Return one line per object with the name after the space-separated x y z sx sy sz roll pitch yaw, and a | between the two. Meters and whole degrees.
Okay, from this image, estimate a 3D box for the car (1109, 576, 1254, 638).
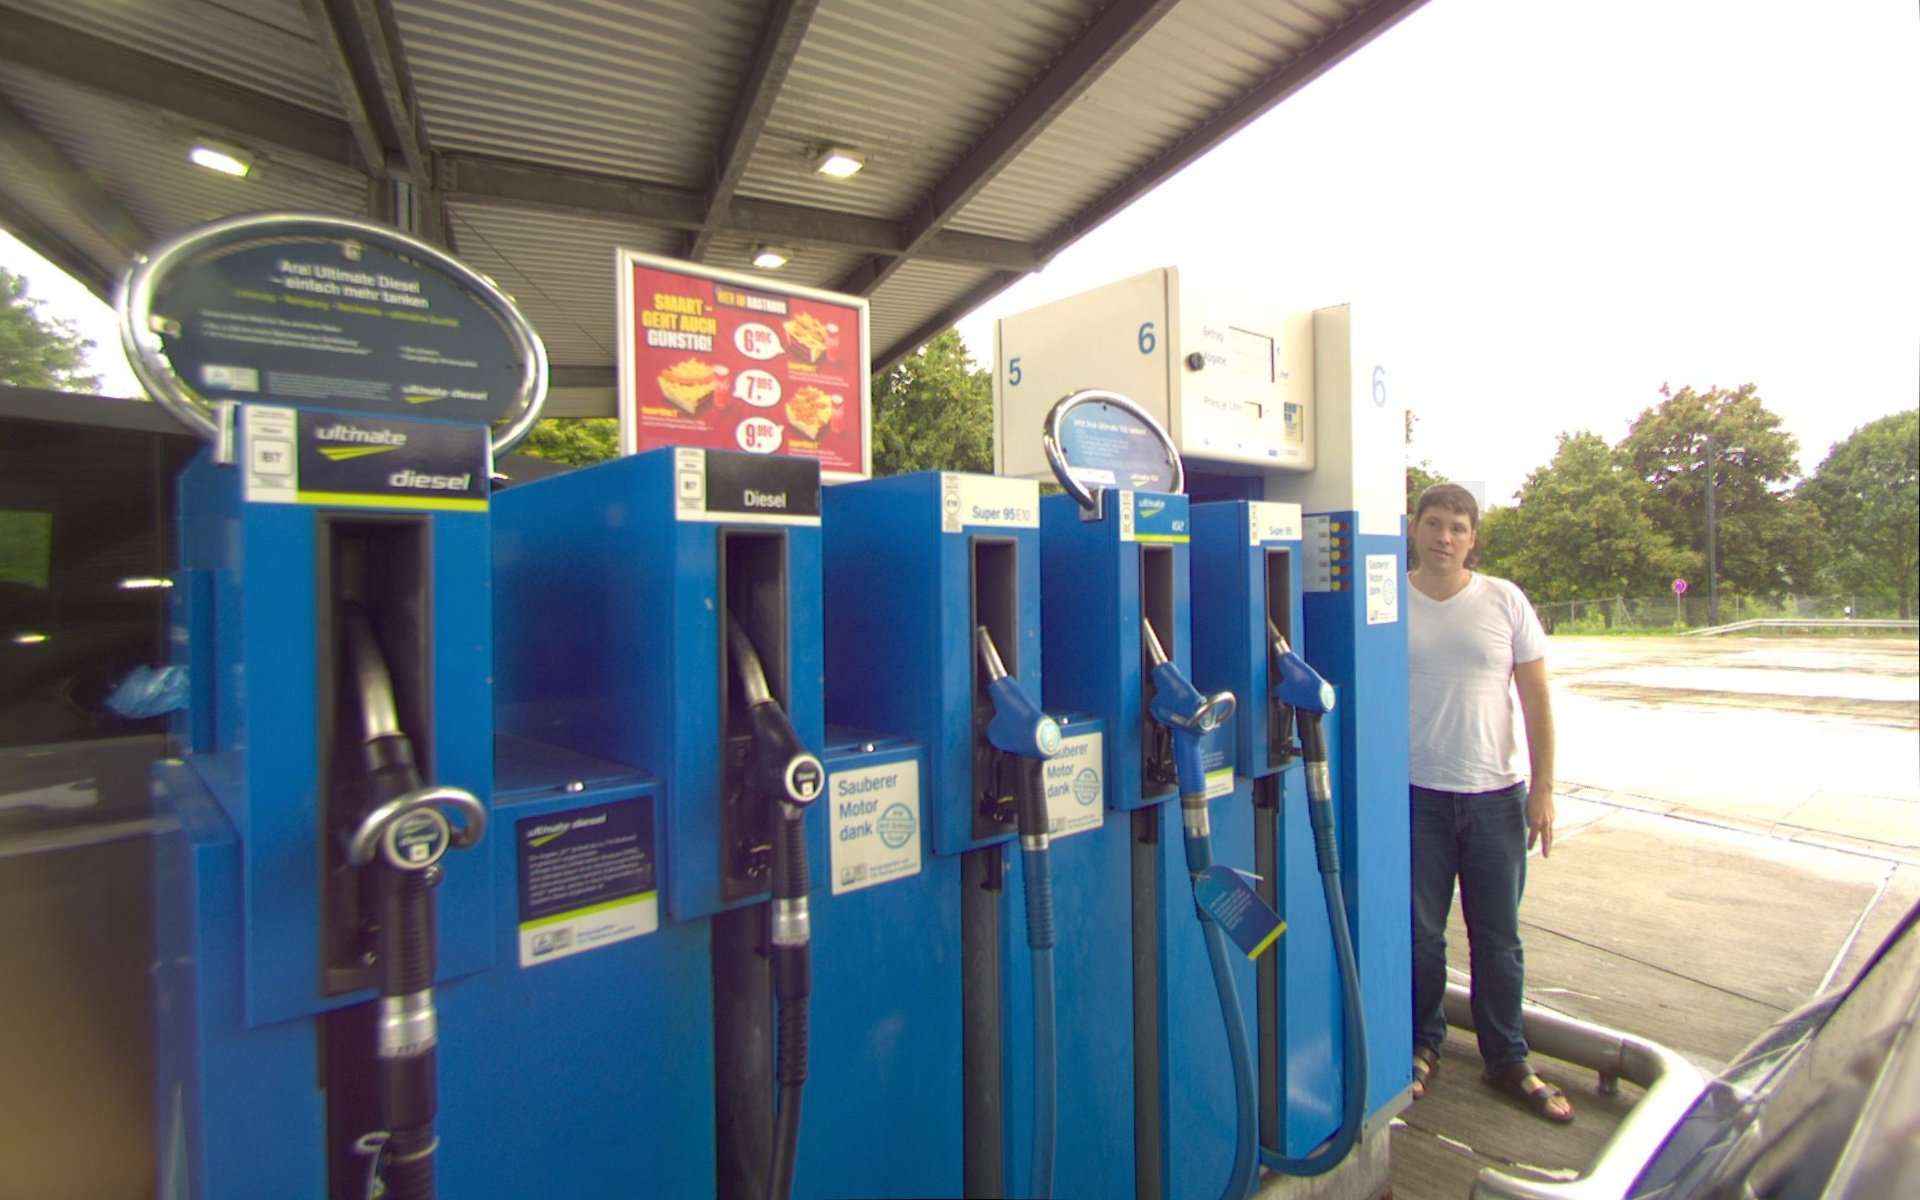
7.545 0.210 34.633 4.700 2.011 2.007 0 0 14 | car

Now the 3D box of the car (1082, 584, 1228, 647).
5.815 0.418 30.024 4.123 1.752 1.990 0 0 17 | car

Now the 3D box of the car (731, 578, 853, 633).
-5.622 0.146 33.555 1.967 1.683 4.170 0 0 -44 | car

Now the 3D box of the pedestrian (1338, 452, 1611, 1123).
1.523 0.512 3.079 0.625 1.832 0.492 -1 1 15 | pedestrian

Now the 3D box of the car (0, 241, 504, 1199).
-3.016 0.411 1.490 3.930 1.973 1.819 0 0 -41 | car

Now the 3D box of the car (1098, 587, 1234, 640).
6.620 0.395 32.396 4.123 1.576 1.990 1 0 17 | car
